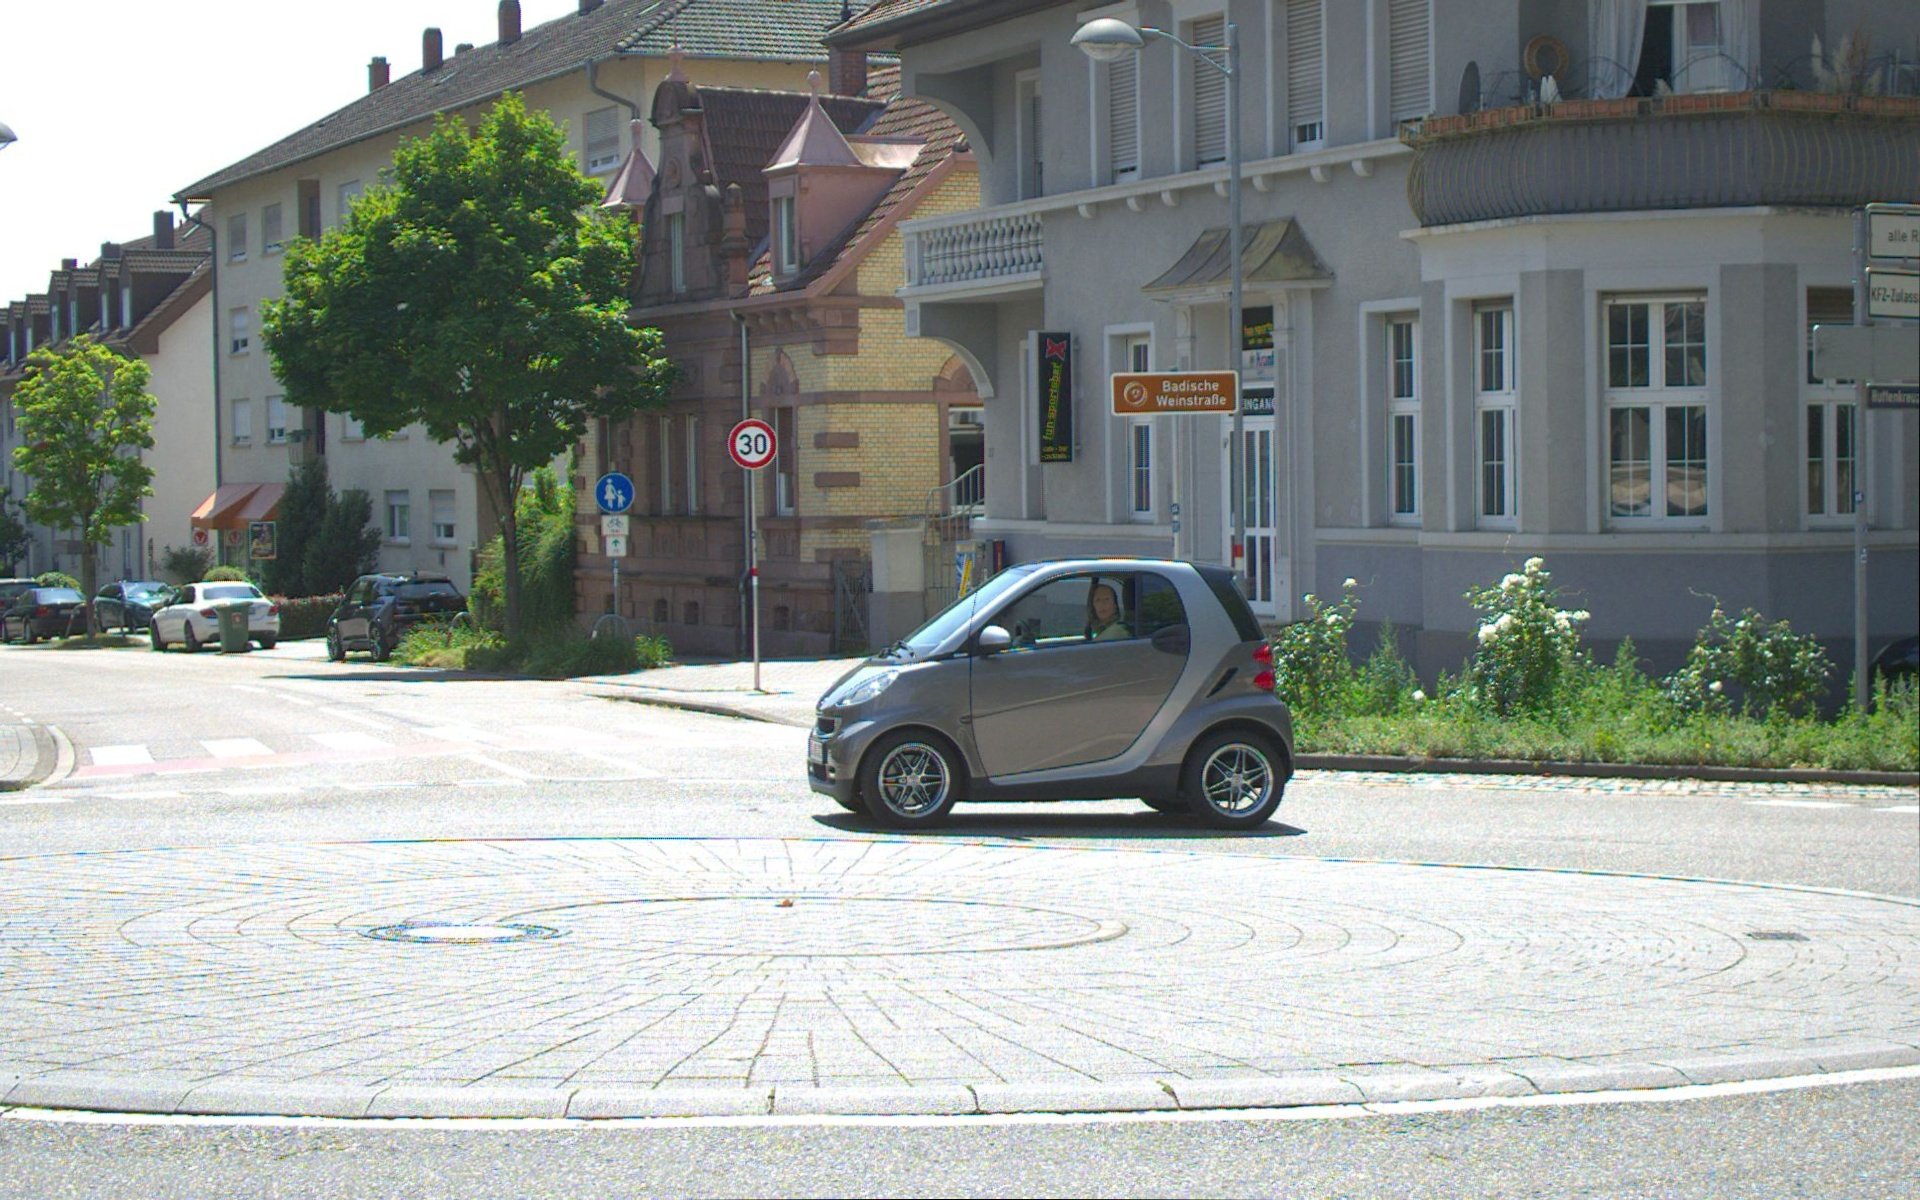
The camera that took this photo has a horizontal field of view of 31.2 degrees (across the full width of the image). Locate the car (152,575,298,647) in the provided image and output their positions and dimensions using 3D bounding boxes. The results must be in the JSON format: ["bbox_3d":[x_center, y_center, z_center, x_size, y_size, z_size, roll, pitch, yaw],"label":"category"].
[{"bbox_3d":[-15.910,0.209,74.285,1.993,1.504,4.419,0,1,-27],"label":"car"}]

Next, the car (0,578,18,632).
[{"bbox_3d":[-28.290,0.117,97.815,1.993,1.504,4.419,0,1,-27],"label":"car"}]

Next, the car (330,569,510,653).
[{"bbox_3d":[-10.024,0.174,63.562,1.993,1.504,4.419,0,1,-27],"label":"car"}]

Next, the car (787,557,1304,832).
[{"bbox_3d":[0.454,0.515,19.996,2.779,1.525,1.570,0,0,-8],"label":"car"}]

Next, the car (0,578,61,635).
[{"bbox_3d":[-25.887,0.167,93.195,1.993,1.504,4.419,0,1,-27],"label":"car"}]

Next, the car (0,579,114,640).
[{"bbox_3d":[-23.131,0.224,87.757,1.993,1.504,4.419,0,1,-27],"label":"car"}]

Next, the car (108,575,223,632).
[{"bbox_3d":[-21.516,0.067,92.979,1.993,1.504,4.419,0,1,-27],"label":"car"}]

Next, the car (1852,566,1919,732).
[{"bbox_3d":[9.702,0.432,29.587,1.718,1.455,3.793,0,1,-31],"label":"car"}]
